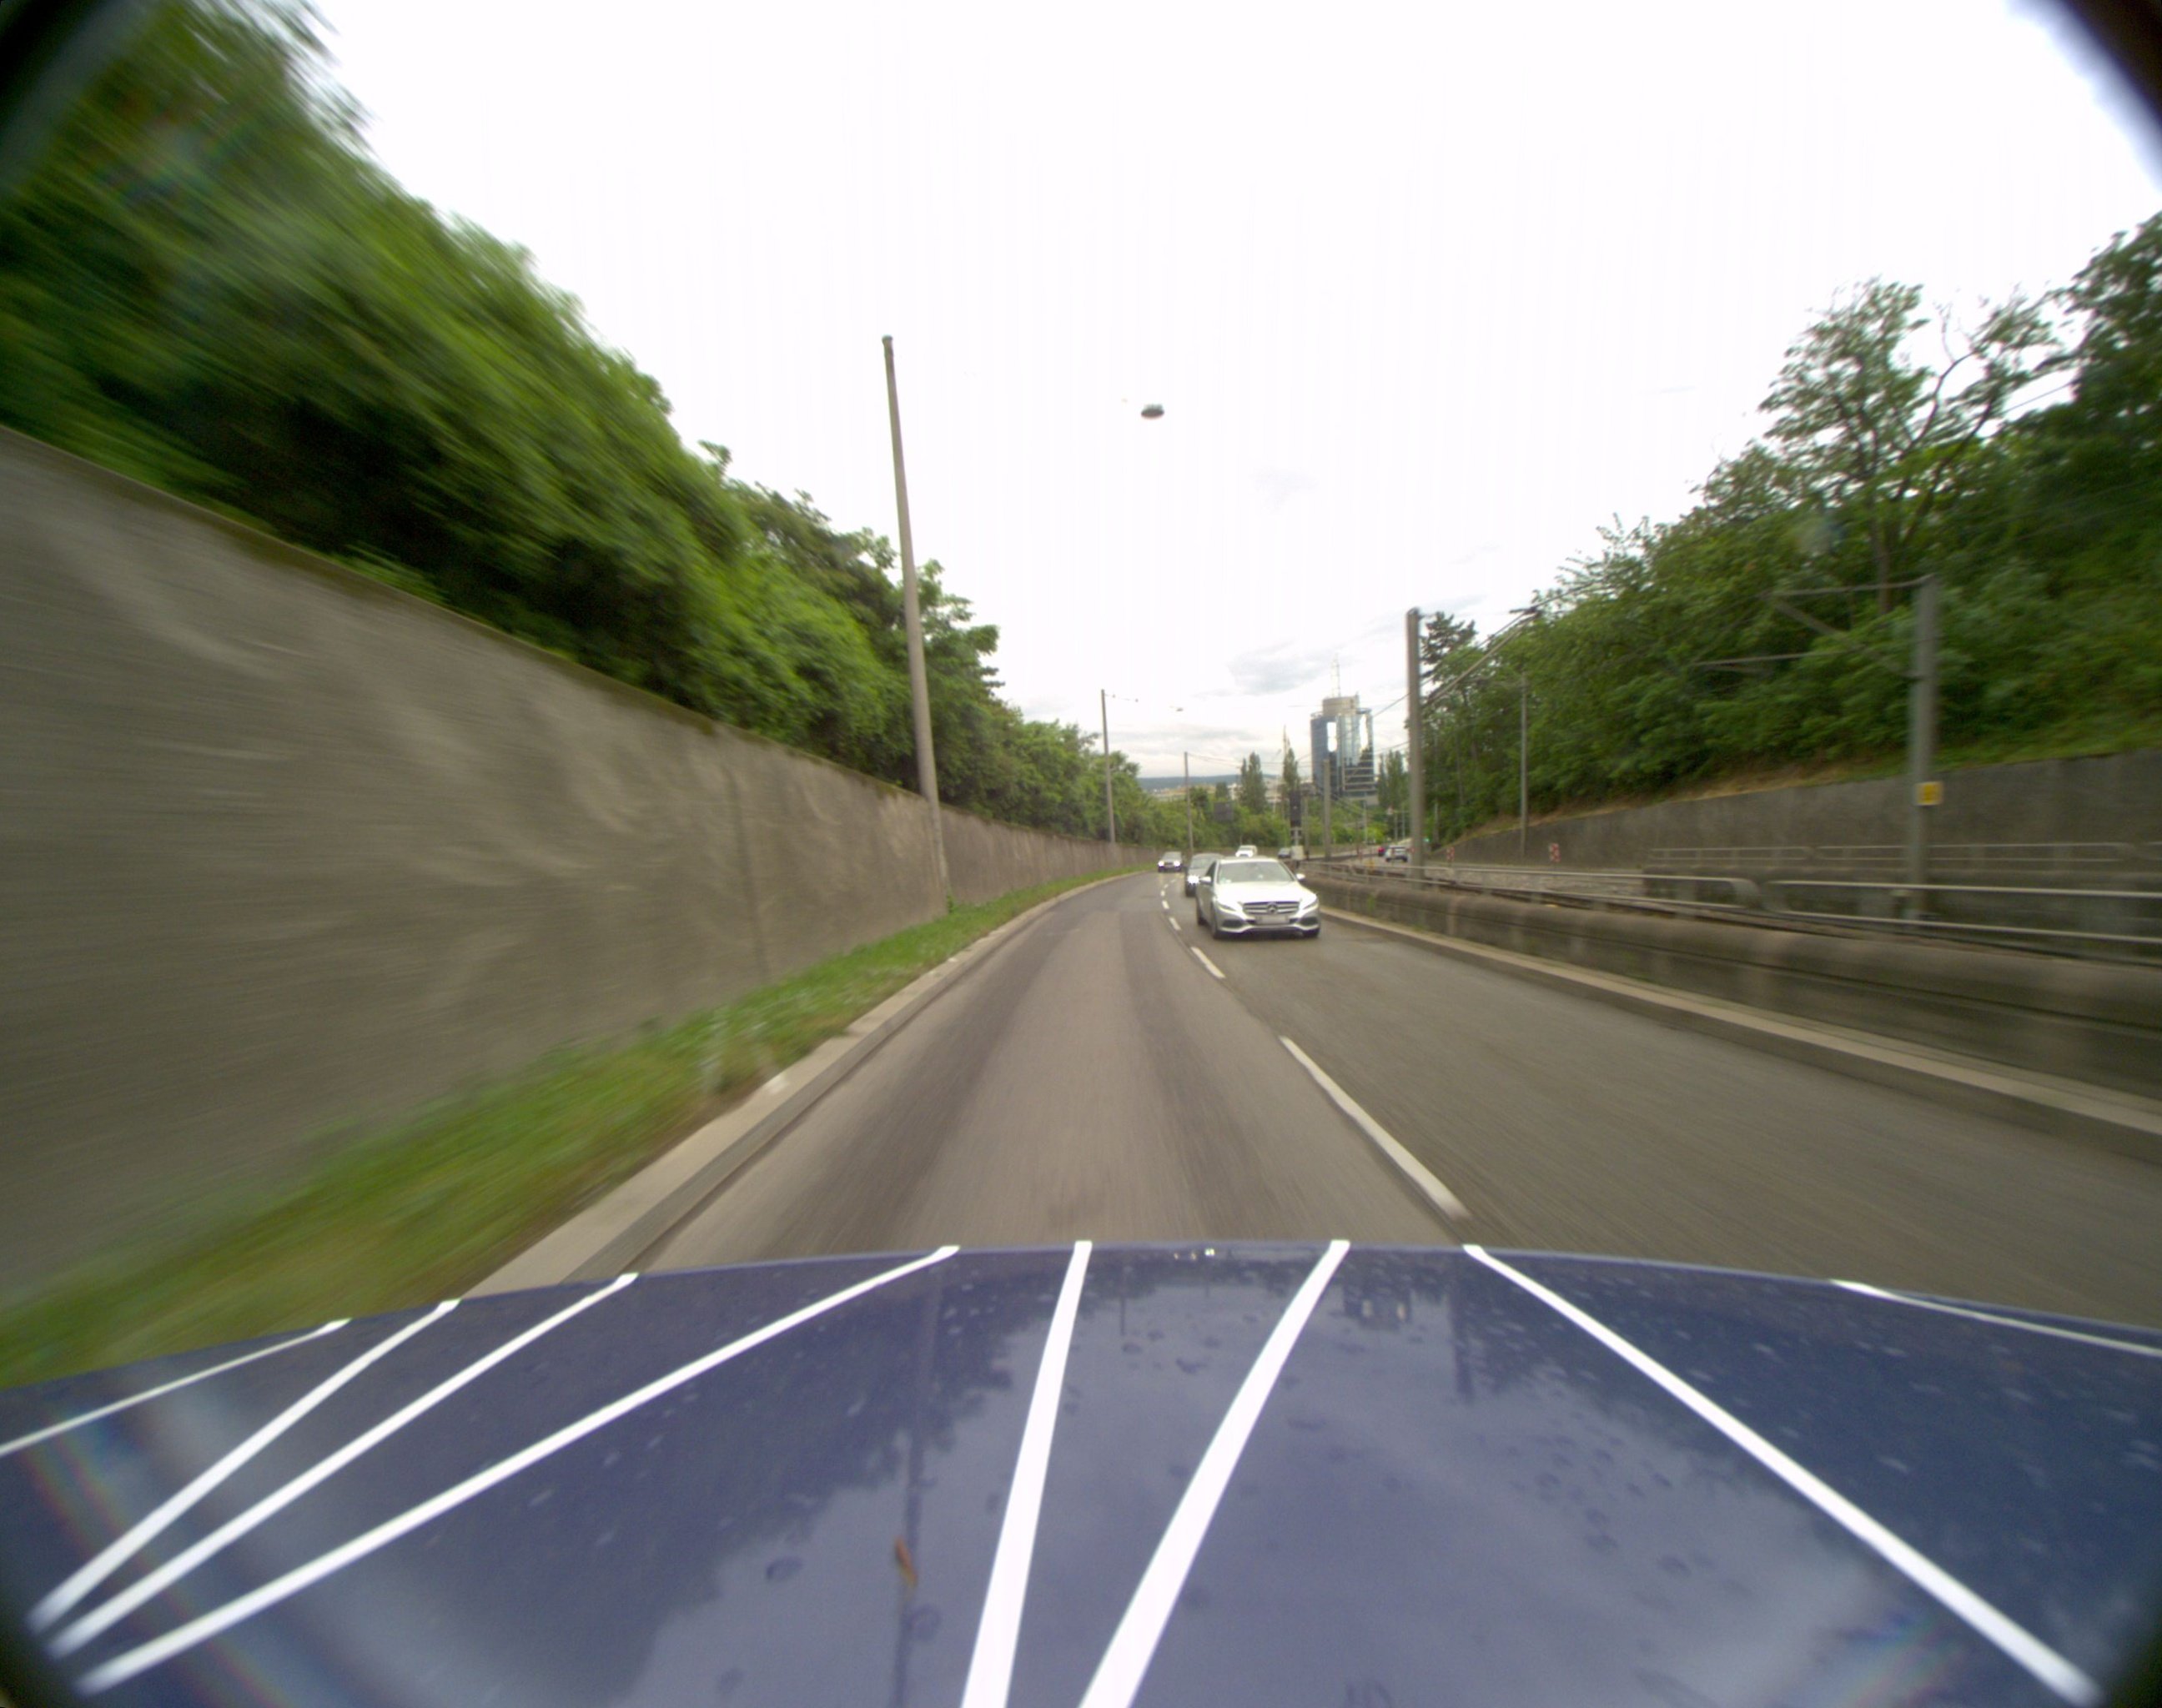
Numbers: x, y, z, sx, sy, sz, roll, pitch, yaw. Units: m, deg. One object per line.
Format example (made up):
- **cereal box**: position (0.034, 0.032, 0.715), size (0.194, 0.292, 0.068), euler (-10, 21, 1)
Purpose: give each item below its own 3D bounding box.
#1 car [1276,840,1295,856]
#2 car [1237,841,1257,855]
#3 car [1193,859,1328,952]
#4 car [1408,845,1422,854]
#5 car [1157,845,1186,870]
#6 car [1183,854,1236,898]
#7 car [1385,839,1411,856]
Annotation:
- **car**: position (28.081, -0.824, 104.225), size (1.995, 2.002, 4.501), euler (-1, 0, 23)
- **car**: position (20.646, -0.788, 94.253), size (1.807, 1.501, 4.004), euler (-3, 2, 20)
- **car**: position (3.242, 0.866, 14.557), size (1.860, 1.395, 4.316), euler (-2, 0, 5)
- **car**: position (52.330, -0.709, 119.057), size (1.826, 1.462, 4.421), euler (1, 1, 27)
- **car**: position (6.537, 0.204, 54.715), size (1.809, 1.501, 4.001), euler (-3, 2, 9)
- **car**: position (4.664, 0.751, 27.604), size (1.728, 1.462, 3.890), euler (-1, 0, 10)
- **car**: position (31.369, -0.648, 75.276), size (1.937, 1.674, 4.413), euler (-1, 1, 17)
